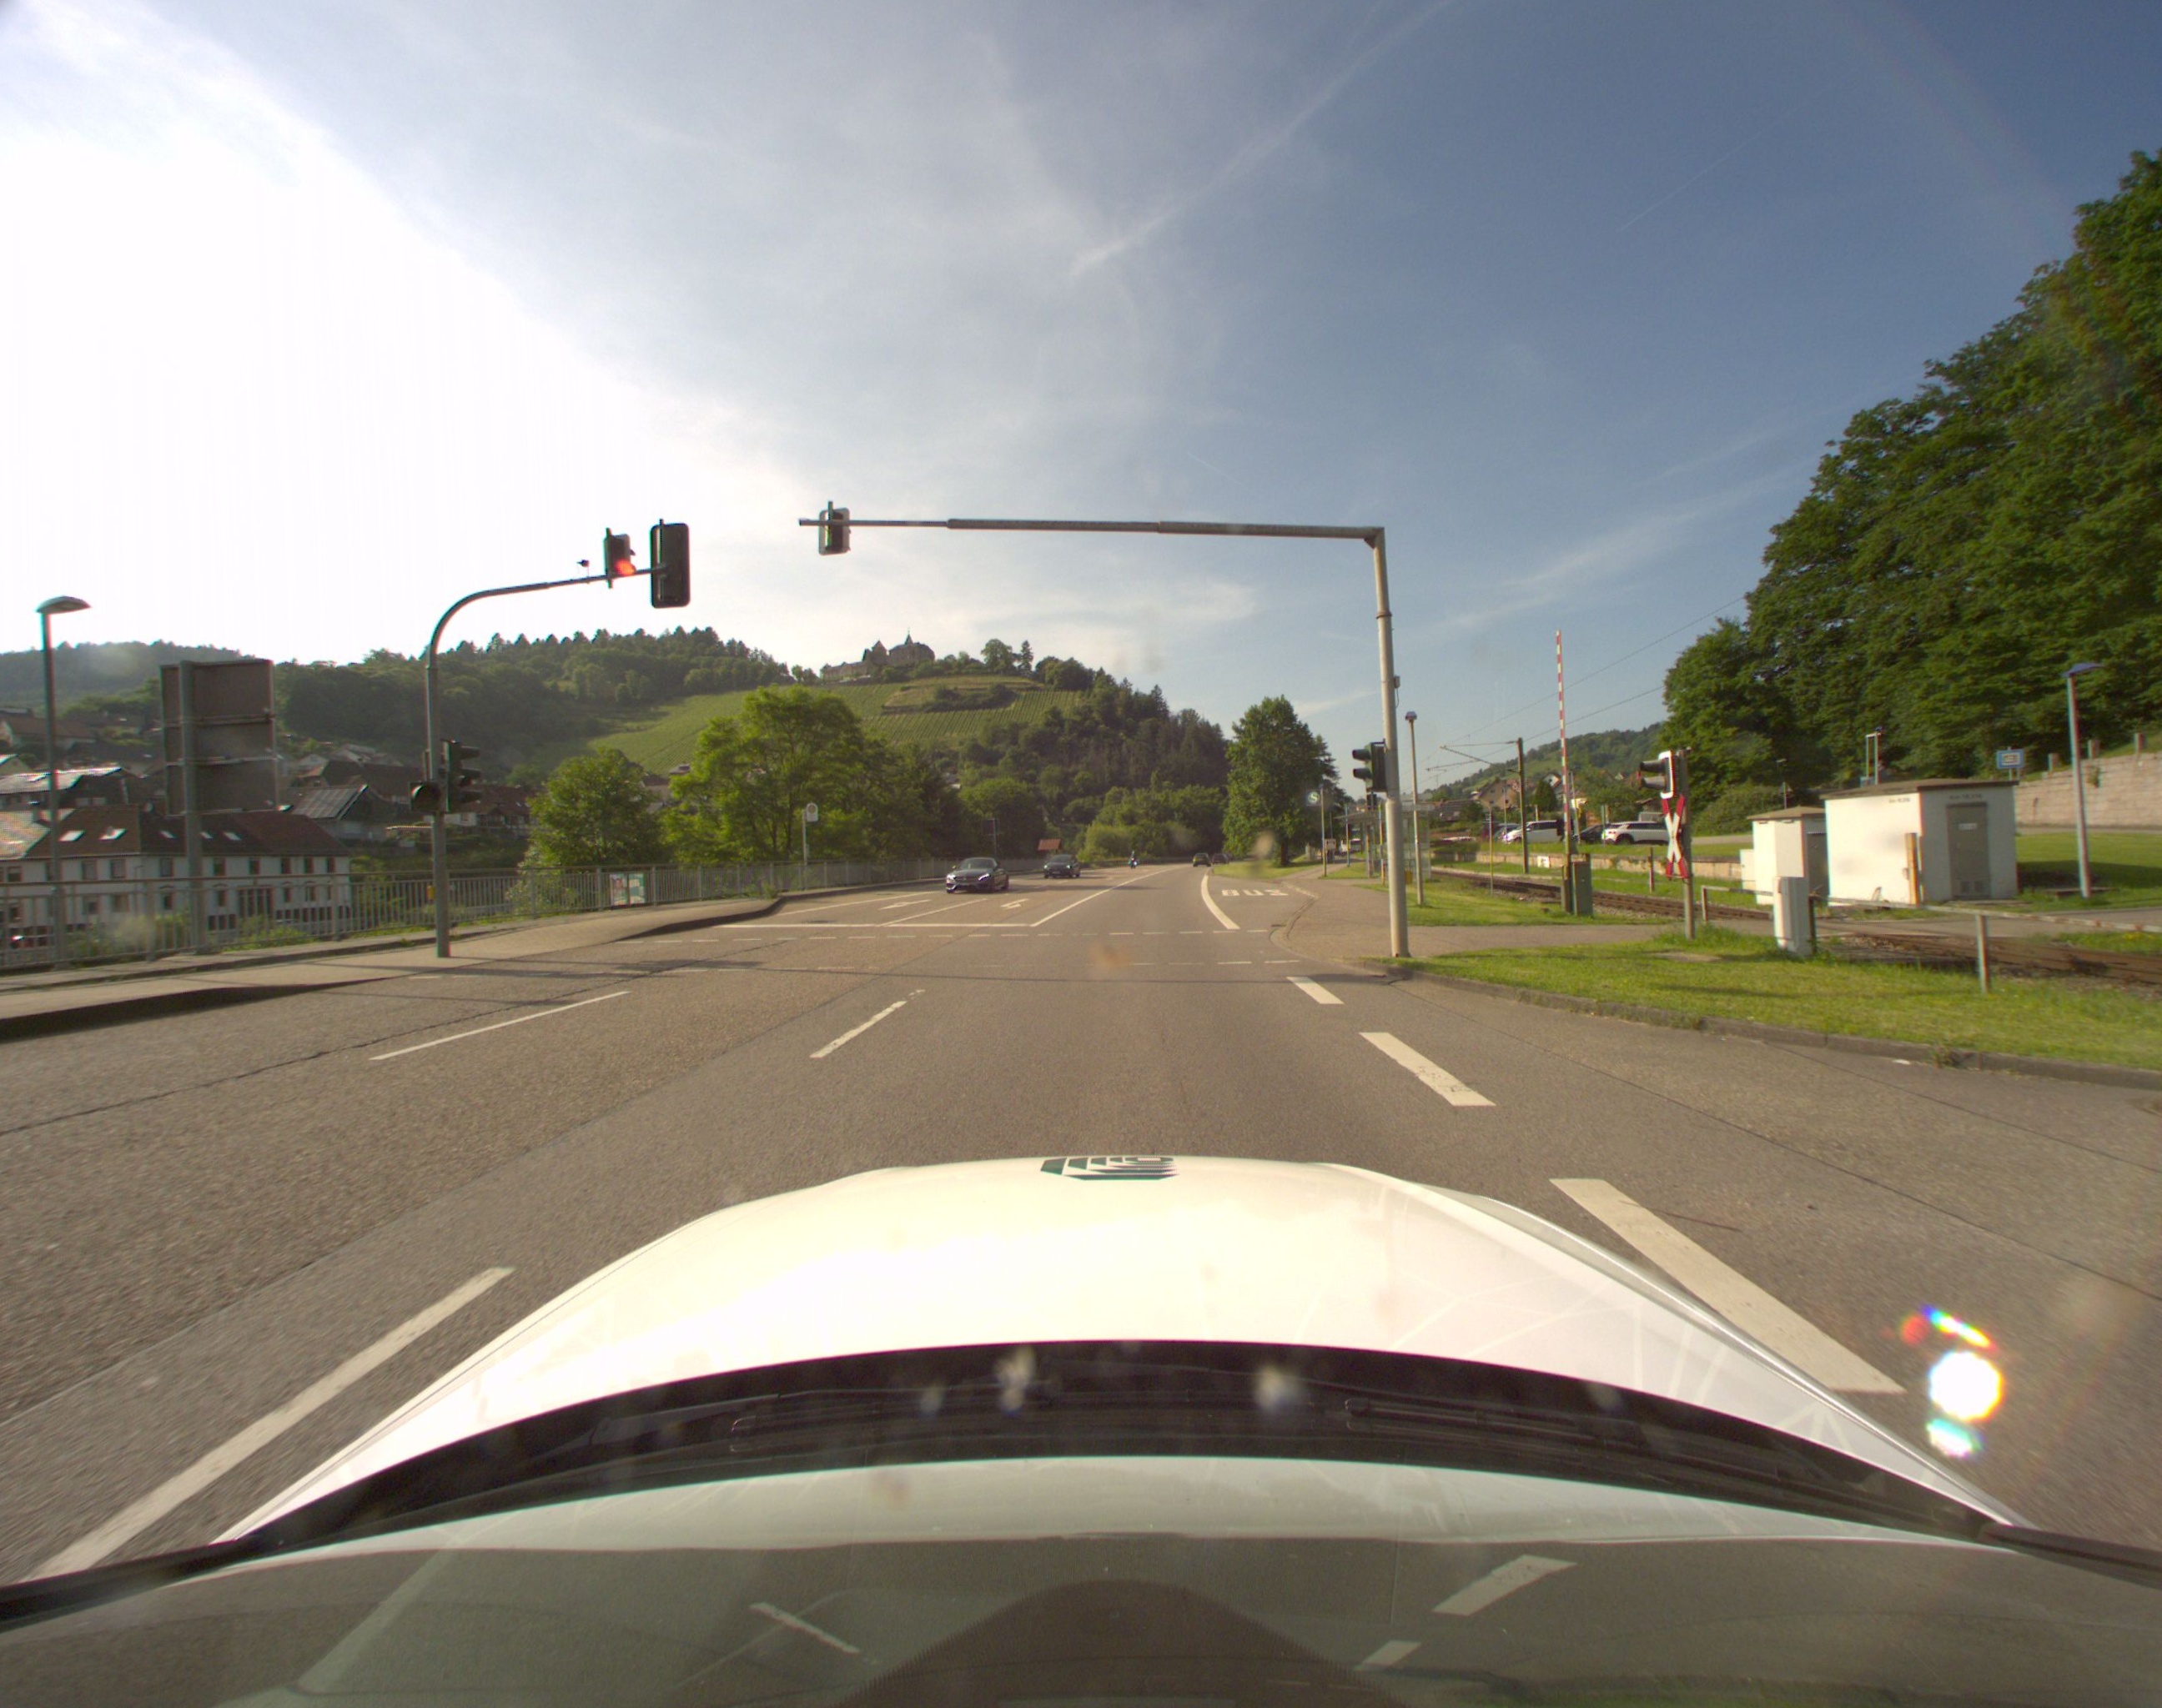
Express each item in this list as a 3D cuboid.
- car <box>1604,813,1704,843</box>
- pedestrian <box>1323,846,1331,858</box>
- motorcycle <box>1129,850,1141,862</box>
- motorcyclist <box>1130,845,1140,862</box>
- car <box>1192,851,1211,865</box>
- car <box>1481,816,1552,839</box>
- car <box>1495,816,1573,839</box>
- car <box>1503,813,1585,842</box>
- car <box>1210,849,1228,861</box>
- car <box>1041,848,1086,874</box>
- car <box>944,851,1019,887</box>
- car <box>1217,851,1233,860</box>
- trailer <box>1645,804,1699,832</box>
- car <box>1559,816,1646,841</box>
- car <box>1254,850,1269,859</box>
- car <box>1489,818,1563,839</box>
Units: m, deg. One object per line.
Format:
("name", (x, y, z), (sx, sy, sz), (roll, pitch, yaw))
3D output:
("car", (31.073, -1.391, 44.296), (4.067, 1.398, 1.816), (-2, 0, 13))
("pedestrian", (24.758, -0.241, 81.945), (0.630, 1.161, 0.730), (-4, -1, 22))
("motorcycle", (5.711, 0.221, 85.972), (0.966, 1.221, 2.580), (-1, 0, 11))
("motorcyclist", (5.694, -0.052, 85.993), (0.839, 1.784, 1.175), (-1, 0, 11))
("car", (13.418, 0.415, 90.603), (1.716, 1.457, 3.423), (-4, -1, 14))
("car", (36.654, -2.203, 68.724), (4.916, 1.690, 1.943), (-2, 0, 13))
("car", (35.276, -2.061, 63.585), (4.916, 1.587, 2.149), (-2, 0, 13))
("car", (34.713, -1.998, 61.243), (4.916, 1.943, 2.149), (-2, 0, 13))
("car", (18.548, 0.173, 109.270), (1.825, 1.459, 3.730), (-4, -1, 18))
("car", (-1.078, 0.416, 51.648), (1.773, 1.479, 4.769), (-2, 0, 12))
("car", (-3.957, 0.572, 33.251), (1.760, 1.377, 4.657), (0, 0, 10))
("car", (24.053, 0.271, 135.977), (1.660, 1.460, 4.226), (-1, 0, 26))
("trailer", (51.971, -3.130, 71.677), (3.656, 2.189, 1.830), (-3, -1, 32))
("car", (33.074, -1.598, 51.765), (4.235, 1.343, 1.838), (-2, 0, 13))
("car", (31.674, 0.102, 143.013), (1.790, 1.453, 3.667), (-4, -1, 23))
("car", (36.023, -2.082, 66.057), (4.916, 1.468, 1.902), (-2, 0, 13))
